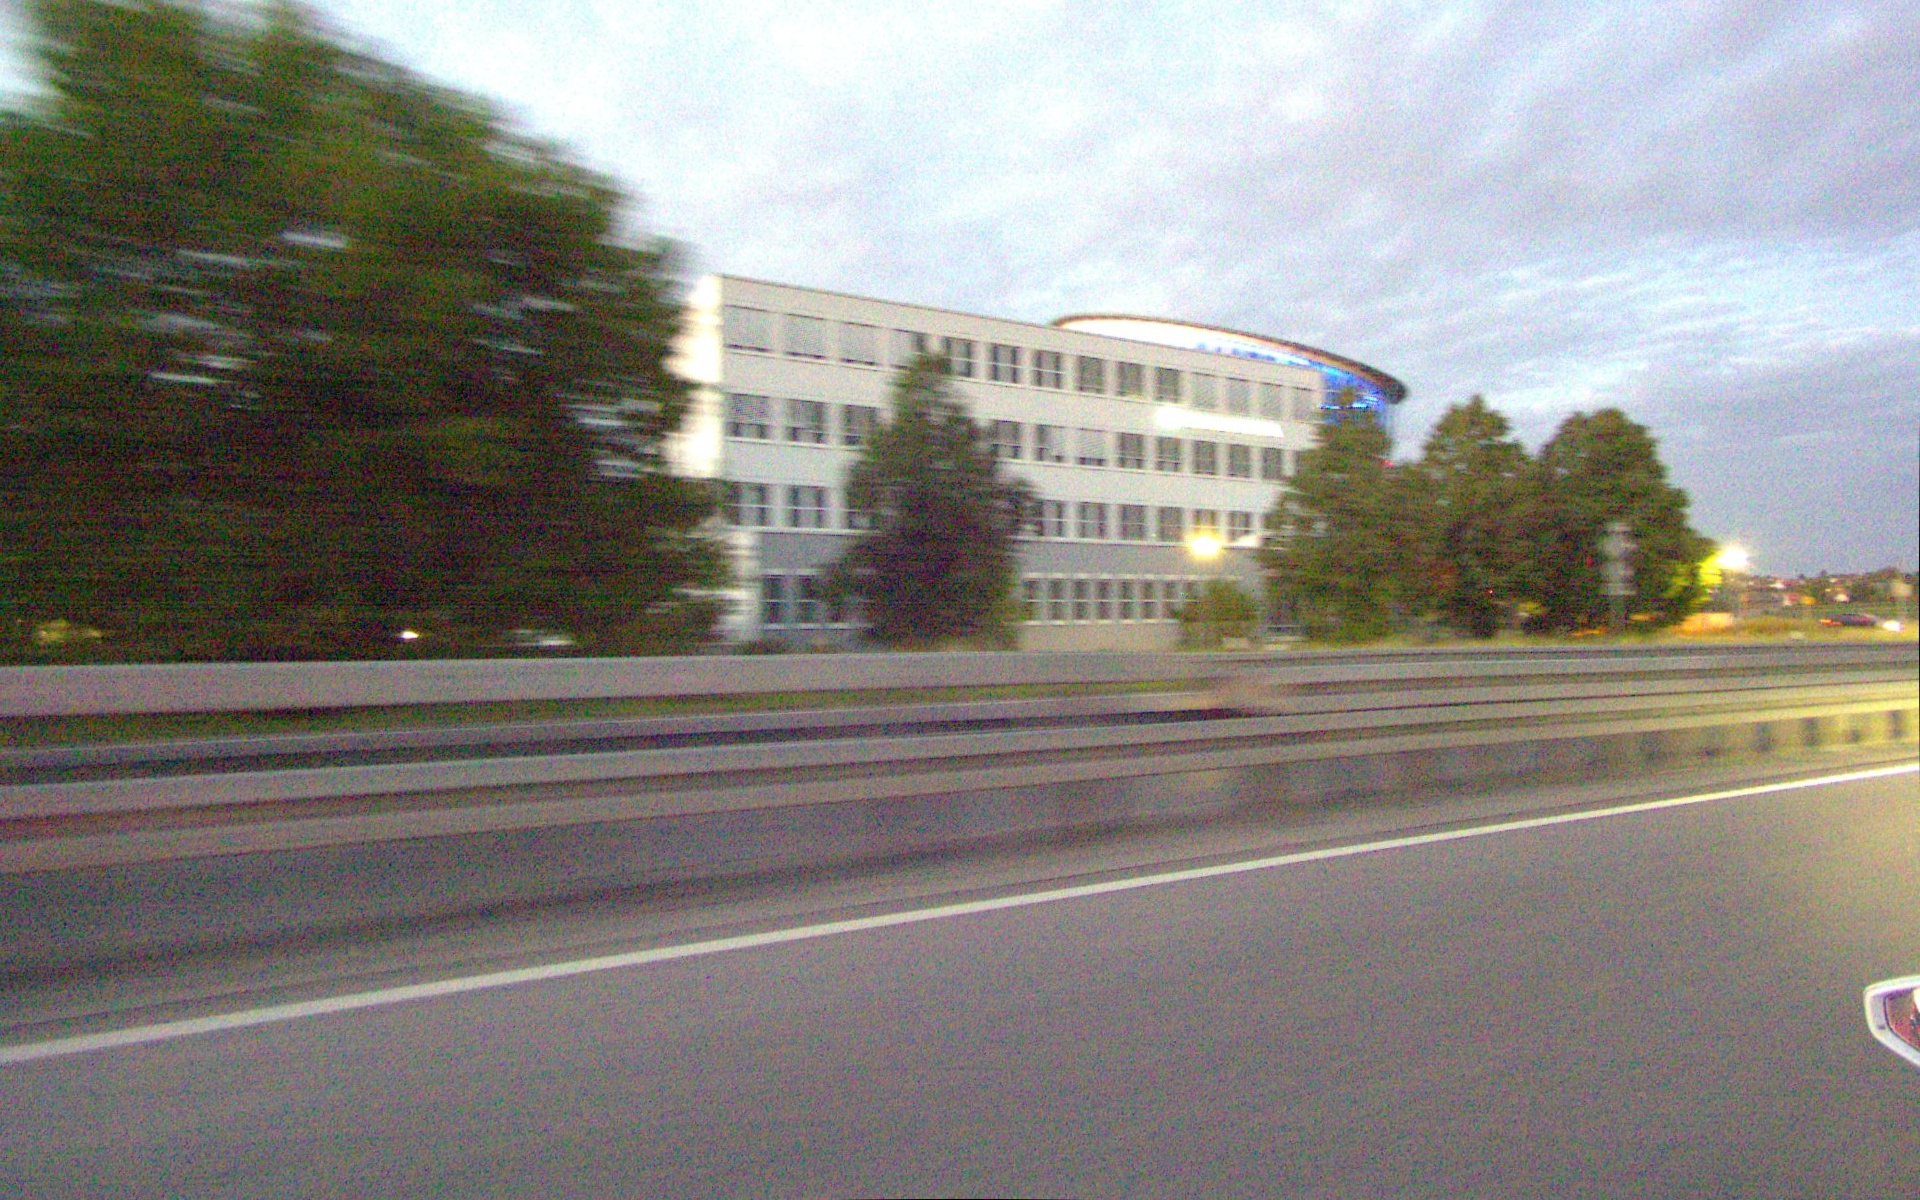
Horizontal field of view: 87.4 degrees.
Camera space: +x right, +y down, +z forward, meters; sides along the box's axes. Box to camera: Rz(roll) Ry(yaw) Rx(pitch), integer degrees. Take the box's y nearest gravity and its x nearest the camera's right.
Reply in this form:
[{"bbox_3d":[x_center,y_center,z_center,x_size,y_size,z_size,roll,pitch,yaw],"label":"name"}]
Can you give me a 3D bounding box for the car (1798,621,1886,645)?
[{"bbox_3d":[57.307,2.131,65.320,1.708,1.493,3.971,1,-2,-28],"label":"car"}]
